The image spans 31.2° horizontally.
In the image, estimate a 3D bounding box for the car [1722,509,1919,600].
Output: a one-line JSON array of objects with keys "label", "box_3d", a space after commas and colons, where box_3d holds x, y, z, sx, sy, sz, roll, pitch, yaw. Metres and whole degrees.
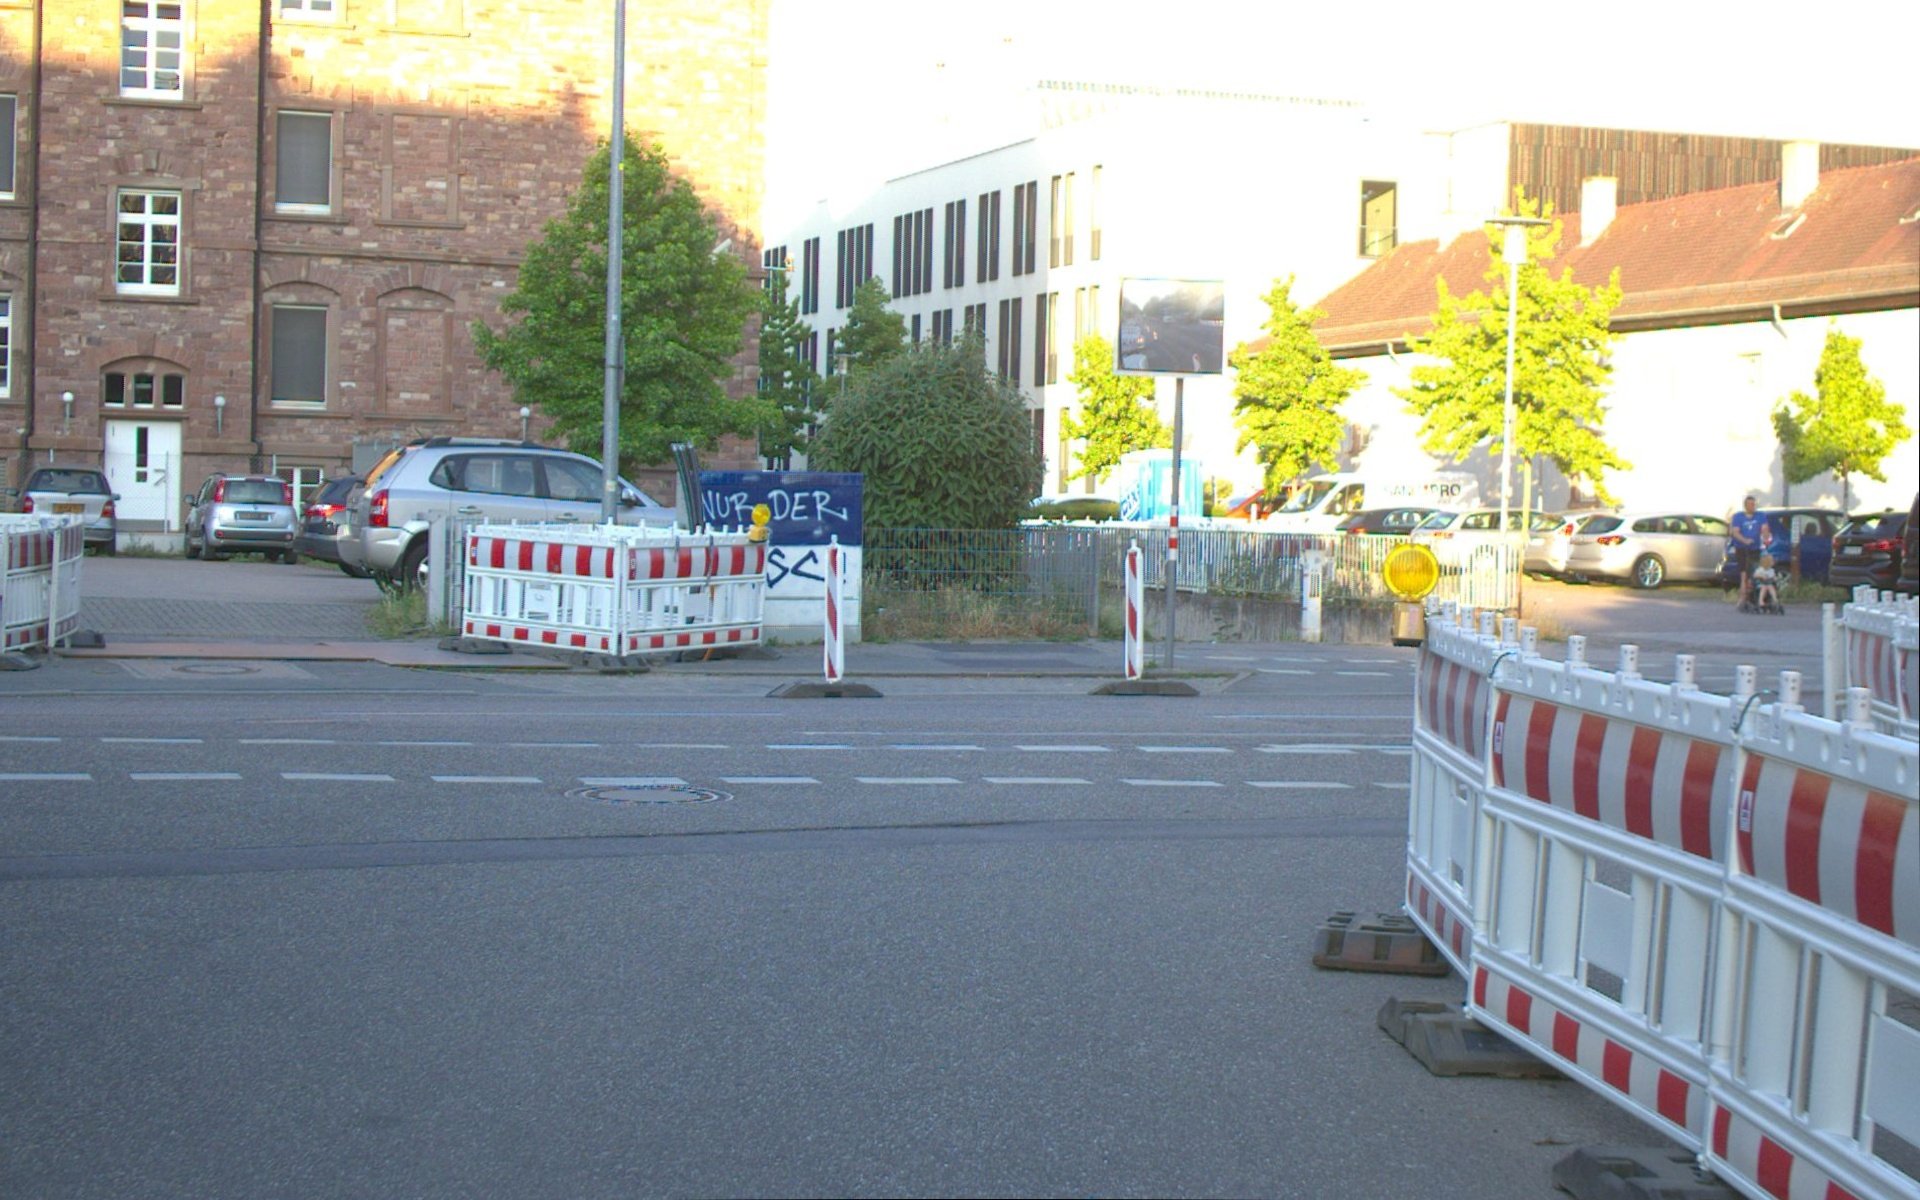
[{"label": "car", "box_3d": [15.610, -0.805, 60.997, 3.739, 1.523, 1.687, 1, 2, -21]}]

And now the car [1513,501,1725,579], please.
[{"label": "car", "box_3d": [13.007, -1.192, 67.896, 3.739, 1.440, 1.687, 1, 2, -21]}]

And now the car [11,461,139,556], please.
[{"label": "car", "box_3d": [-15.345, -1.606, 59.483, 1.896, 1.532, 4.181, 1, 2, -18]}]

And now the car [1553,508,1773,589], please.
[{"label": "car", "box_3d": [13.342, -0.977, 65.258, 3.739, 1.440, 1.687, 1, 2, -21]}]

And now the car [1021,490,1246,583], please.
[{"label": "car", "box_3d": [3.186, -1.168, 63.183, 3.739, 1.597, 1.687, 1, 2, -21]}]

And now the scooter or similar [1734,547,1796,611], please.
[{"label": "scooter or similar", "box_3d": [11.685, -0.307, 49.923, 0.513, 0.887, 0.806, 1, 1, -18]}]

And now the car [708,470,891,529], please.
[{"label": "car", "box_3d": [-3.841, -2.401, 82.001, 3.986, 1.308, 1.878, 1, 2, -19]}]

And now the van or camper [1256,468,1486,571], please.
[{"label": "van or camper", "box_3d": [9.404, -1.843, 78.648, 4.961, 2.232, 1.687, 1, 2, -21]}]

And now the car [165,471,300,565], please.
[{"label": "car", "box_3d": [-12.793, -1.463, 60.298, 1.896, 1.532, 4.181, 1, 2, -18]}]

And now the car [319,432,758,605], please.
[{"label": "car", "box_3d": [-4.421, -0.846, 35.970, 4.268, 1.702, 1.703, 0, 2, -19]}]

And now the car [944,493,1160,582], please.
[{"label": "car", "box_3d": [1.761, -1.205, 66.058, 3.739, 1.597, 1.687, 1, 2, -21]}]

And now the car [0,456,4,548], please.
[{"label": "car", "box_3d": [-17.447, -1.733, 58.865, 1.896, 1.532, 4.181, 1, 2, -18]}]

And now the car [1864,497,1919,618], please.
[{"label": "car", "box_3d": [16.501, -0.642, 54.029, 3.986, 1.852, 2.001, 1, 2, -21]}]

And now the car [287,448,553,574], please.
[{"label": "car", "box_3d": [-7.688, -1.269, 48.873, 3.474, 1.702, 1.669, 0, 2, -19]}]

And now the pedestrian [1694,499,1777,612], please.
[{"label": "pedestrian", "box_3d": [11.466, -0.665, 50.850, 0.749, 1.636, 1.015, 1, 1, -17]}]

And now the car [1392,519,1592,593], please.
[{"label": "car", "box_3d": [11.078, -0.911, 71.607, 3.739, 1.440, 1.687, 1, 2, -21]}]

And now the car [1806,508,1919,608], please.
[{"label": "car", "box_3d": [16.203, -0.677, 56.493, 3.986, 1.567, 2.001, 1, 2, -21]}]
